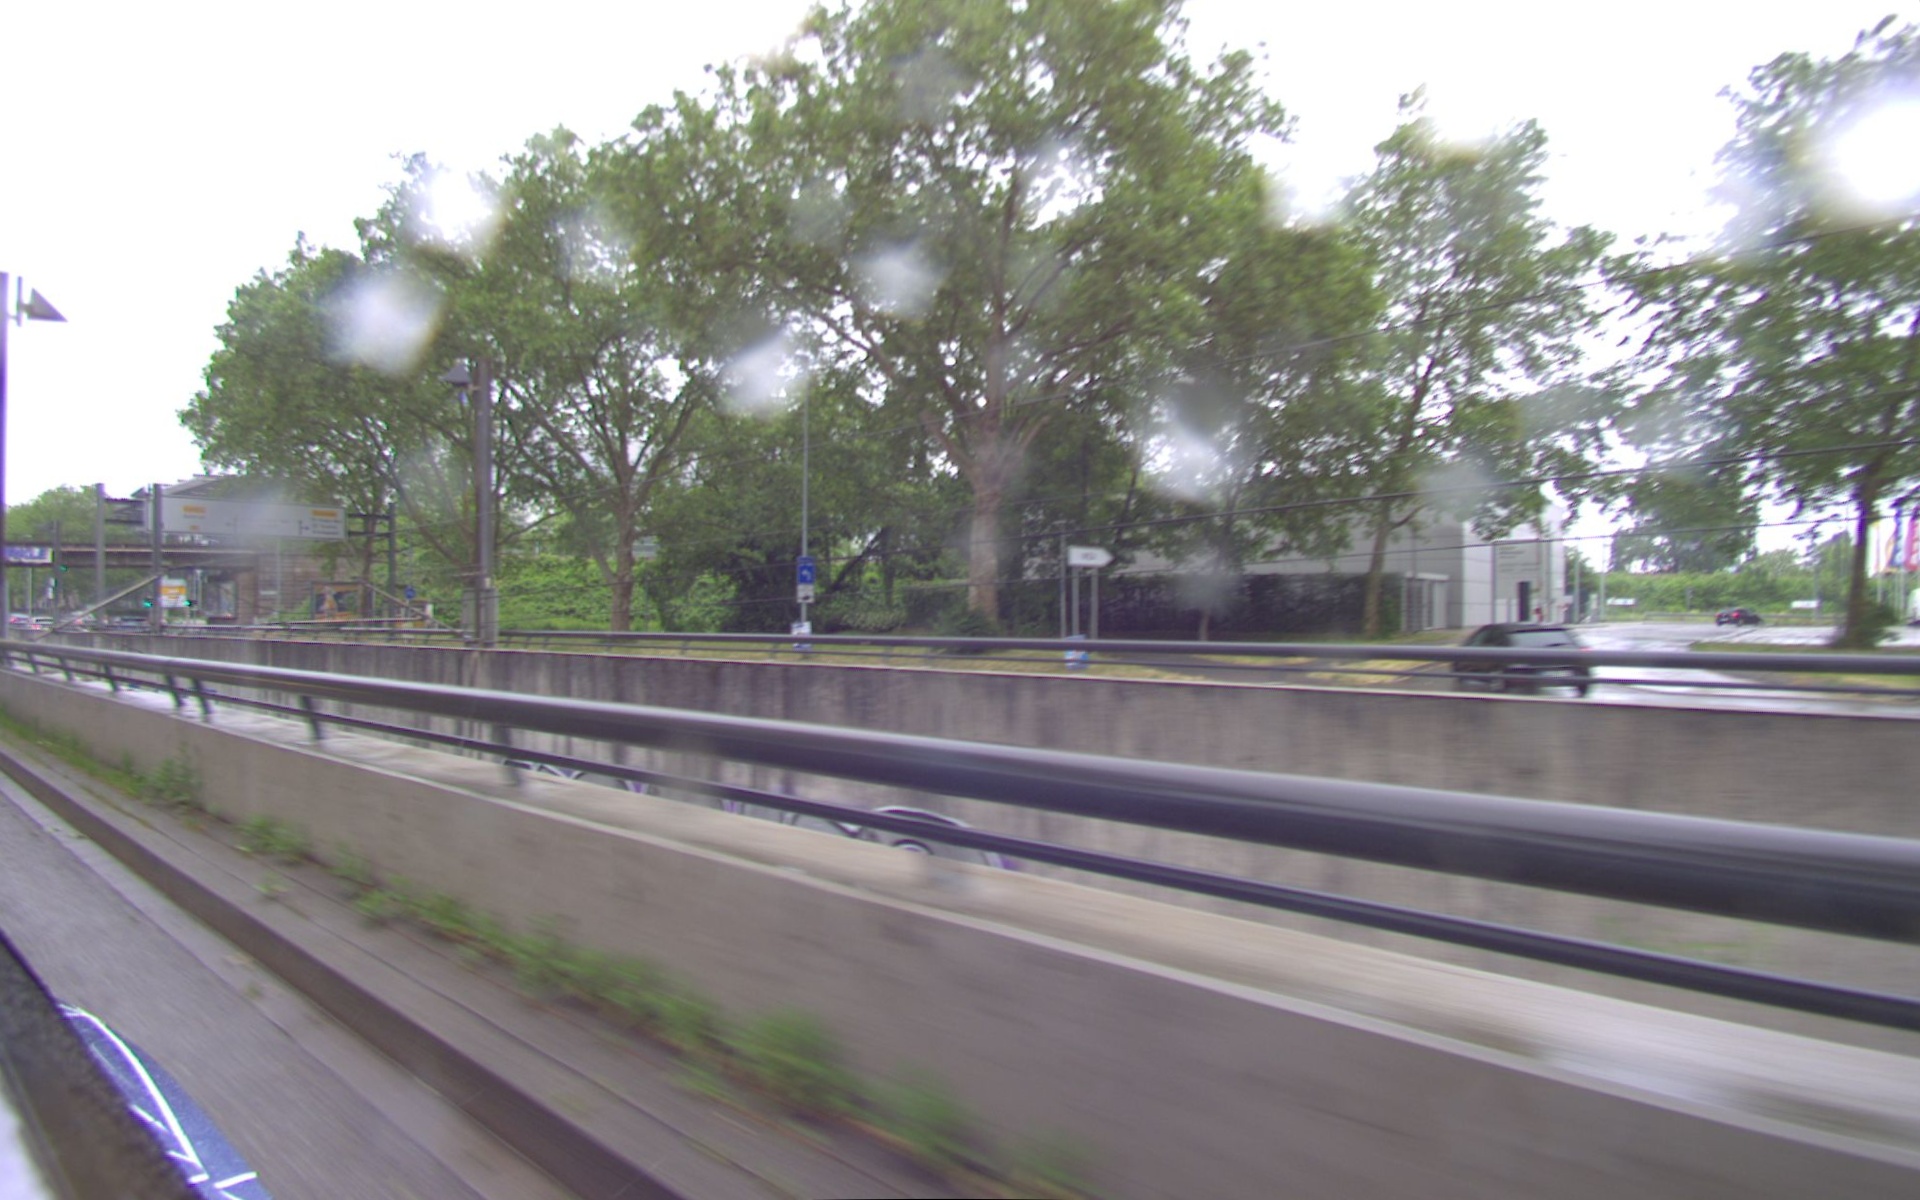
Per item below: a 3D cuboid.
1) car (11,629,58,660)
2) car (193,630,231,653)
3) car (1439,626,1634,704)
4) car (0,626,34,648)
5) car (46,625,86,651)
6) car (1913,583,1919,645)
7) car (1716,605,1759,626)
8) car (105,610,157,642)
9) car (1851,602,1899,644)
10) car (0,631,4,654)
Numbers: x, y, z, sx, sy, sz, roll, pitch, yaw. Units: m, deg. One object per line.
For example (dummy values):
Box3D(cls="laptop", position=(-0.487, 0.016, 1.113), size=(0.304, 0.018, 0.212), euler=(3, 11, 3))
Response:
Box3D(cls="car", position=(-67.987, 3.230, 74.306), size=(4.613, 2.029, 1.973), euler=(-1, 1, 41))
Box3D(cls="car", position=(-71.563, 3.917, 96.818), size=(4.194, 2.029, 1.973), euler=(-1, 1, 41))
Box3D(cls="car", position=(11.747, 1.277, 20.958), size=(1.974, 1.414, 3.790), euler=(-1, -1, 3))
Box3D(cls="car", position=(-93.125, 3.617, 99.946), size=(4.507, 2.029, 1.973), euler=(-1, 1, 41))
Box3D(cls="car", position=(-75.469, 3.149, 85.384), size=(3.997, 2.029, 1.973), euler=(-1, 1, 41))
Box3D(cls="car", position=(66.034, 0.925, 68.171), size=(2.211, 4.136, 5.285), euler=(-1, -1, 39))
Box3D(cls="car", position=(62.381, 1.203, 81.163), size=(3.938, 1.630, 2.003), euler=(0, -1, -42))
Box3D(cls="car", position=(-56.394, 1.773, 68.843), size=(4.507, 2.029, 1.973), euler=(-1, 1, 41))
Box3D(cls="car", position=(64.208, 1.583, 71.014), size=(3.940, 2.847, 2.215), euler=(0, -1, -44))
Box3D(cls="car", position=(-87.101, 3.856, 90.456), size=(3.997, 2.029, 1.973), euler=(-1, 1, 41))
